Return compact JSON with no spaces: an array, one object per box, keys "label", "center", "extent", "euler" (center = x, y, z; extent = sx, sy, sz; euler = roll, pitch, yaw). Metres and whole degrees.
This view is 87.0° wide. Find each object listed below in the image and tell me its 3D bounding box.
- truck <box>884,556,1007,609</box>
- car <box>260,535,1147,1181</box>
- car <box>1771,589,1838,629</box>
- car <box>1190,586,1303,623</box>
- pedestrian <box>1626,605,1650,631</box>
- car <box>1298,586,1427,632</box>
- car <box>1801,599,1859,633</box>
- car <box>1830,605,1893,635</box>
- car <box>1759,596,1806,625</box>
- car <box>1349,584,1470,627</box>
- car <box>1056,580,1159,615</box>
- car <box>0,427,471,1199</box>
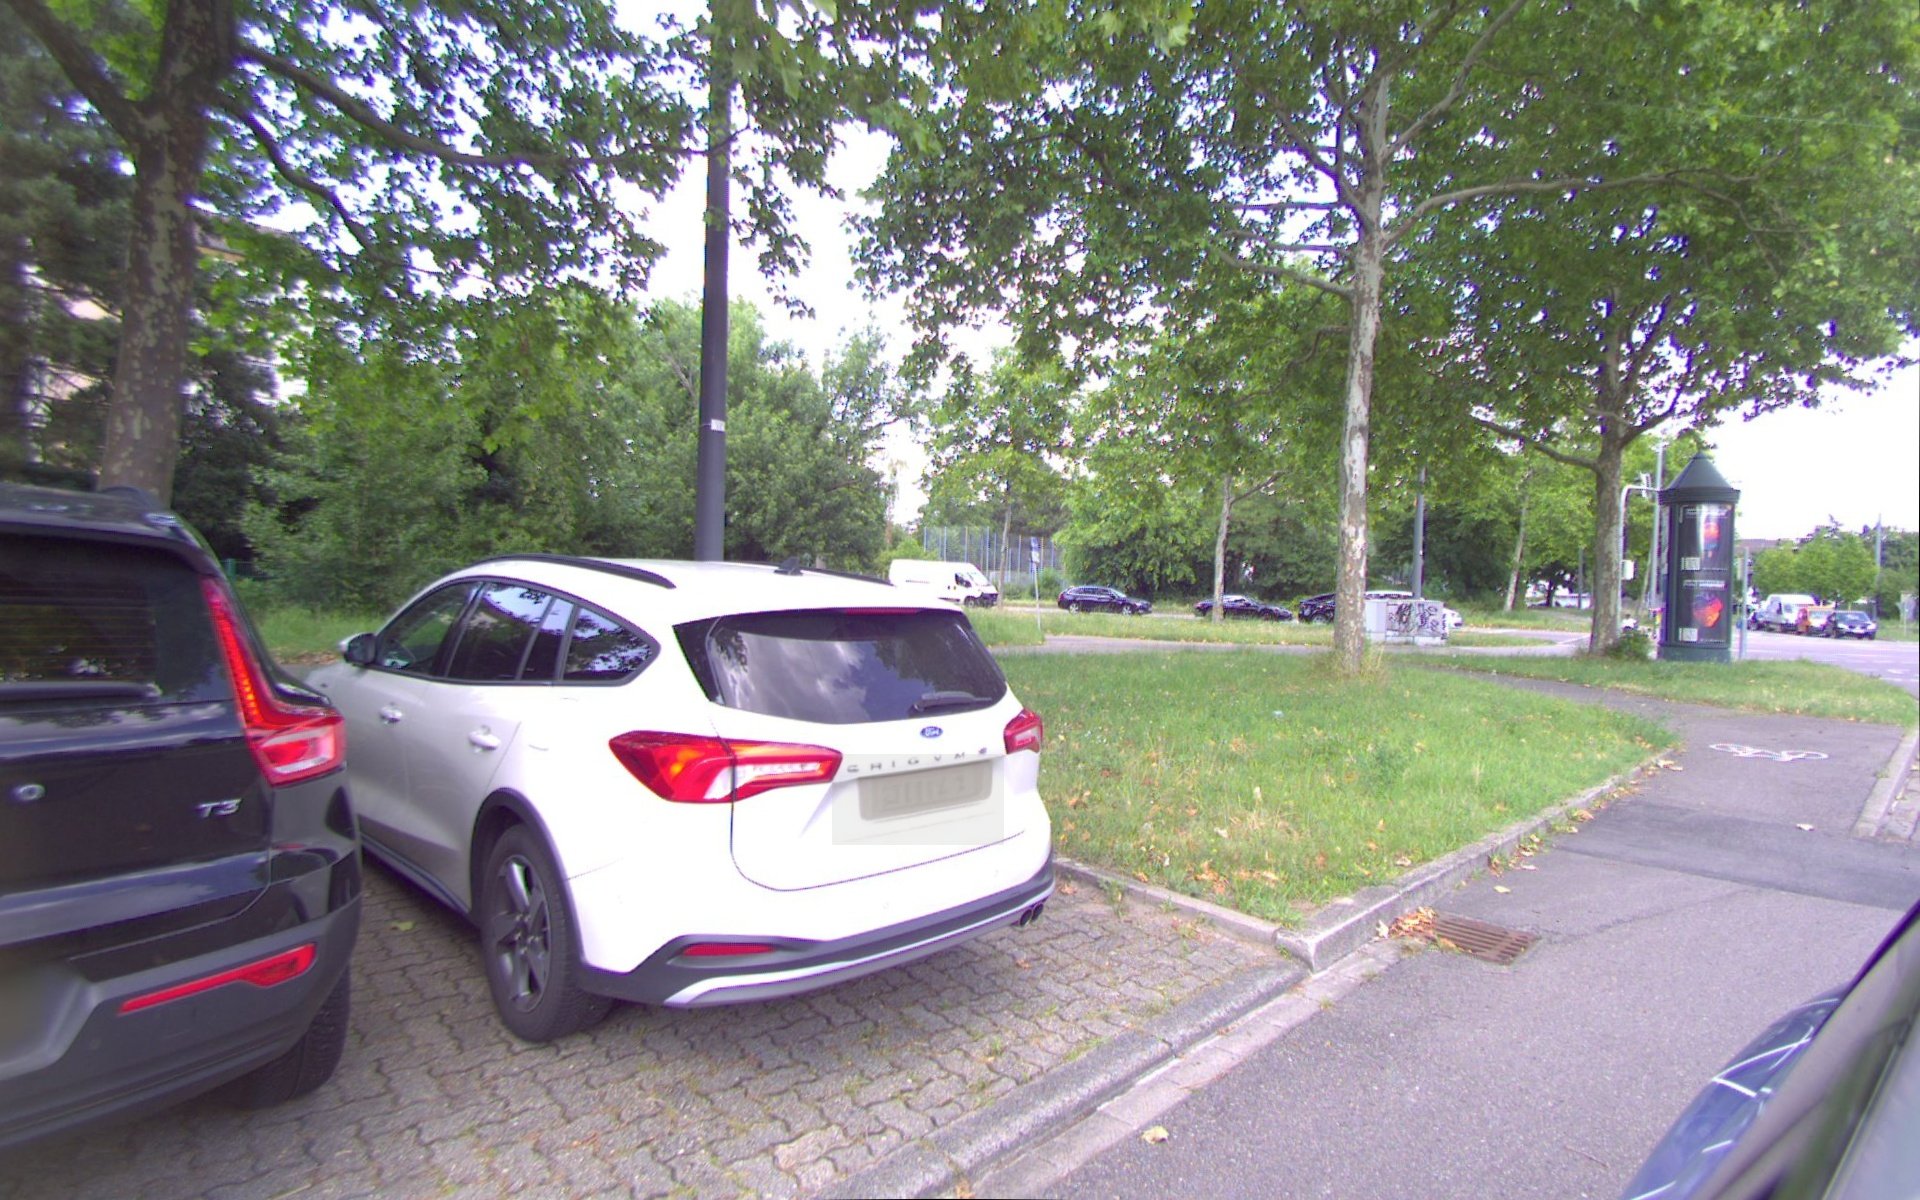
[{"label":"truck","center":[-0.830,-0.974,55.056],"extent":[6.452,2.628,2.194],"euler":[2,1,29]},{"label":"car","center":[-1.628,0.507,4.667],"extent":[1.818,1.492,4.662],"euler":[1,2,-45]},{"label":"car","center":[56.453,0.573,67.754],"extent":[2.219,2.538,5.670],"euler":[1,1,28]},{"label":"car","center":[13.185,0.154,46.606],"extent":[4.706,1.487,1.981],"euler":[2,2,28]},{"label":"pedestrian","center":[28.822,0.755,43.042],"extent":[0.716,1.047,0.893],"euler":[2,1,28]},{"label":"car","center":[16.268,0.304,40.934],"extent":[4.645,1.630,1.980],"euler":[2,2,29]},{"label":"car","center":[53.313,0.915,62.084],"extent":[1.780,1.959,4.324],"euler":[1,1,29]},{"label":"car","center":[50.474,1.092,56.751],"extent":[1.781,1.558,3.958],"euler":[1,1,29]},{"label":"car","center":[59.084,0.715,72.786],"extent":[1.780,1.959,4.326],"euler":[1,1,28]},{"label":"car","center":[19.376,0.188,43.637],"extent":[4.644,1.630,1.981],"euler":[2,2,28]},{"label":"car","center":[7.274,-0.169,50.077],"extent":[4.644,1.532,1.981],"euler":[2,2,28]},{"label":"car","center":[-3.356,0.421,3.189],"extent":[1.818,1.646,4.662],"euler":[1,2,-45]}]
